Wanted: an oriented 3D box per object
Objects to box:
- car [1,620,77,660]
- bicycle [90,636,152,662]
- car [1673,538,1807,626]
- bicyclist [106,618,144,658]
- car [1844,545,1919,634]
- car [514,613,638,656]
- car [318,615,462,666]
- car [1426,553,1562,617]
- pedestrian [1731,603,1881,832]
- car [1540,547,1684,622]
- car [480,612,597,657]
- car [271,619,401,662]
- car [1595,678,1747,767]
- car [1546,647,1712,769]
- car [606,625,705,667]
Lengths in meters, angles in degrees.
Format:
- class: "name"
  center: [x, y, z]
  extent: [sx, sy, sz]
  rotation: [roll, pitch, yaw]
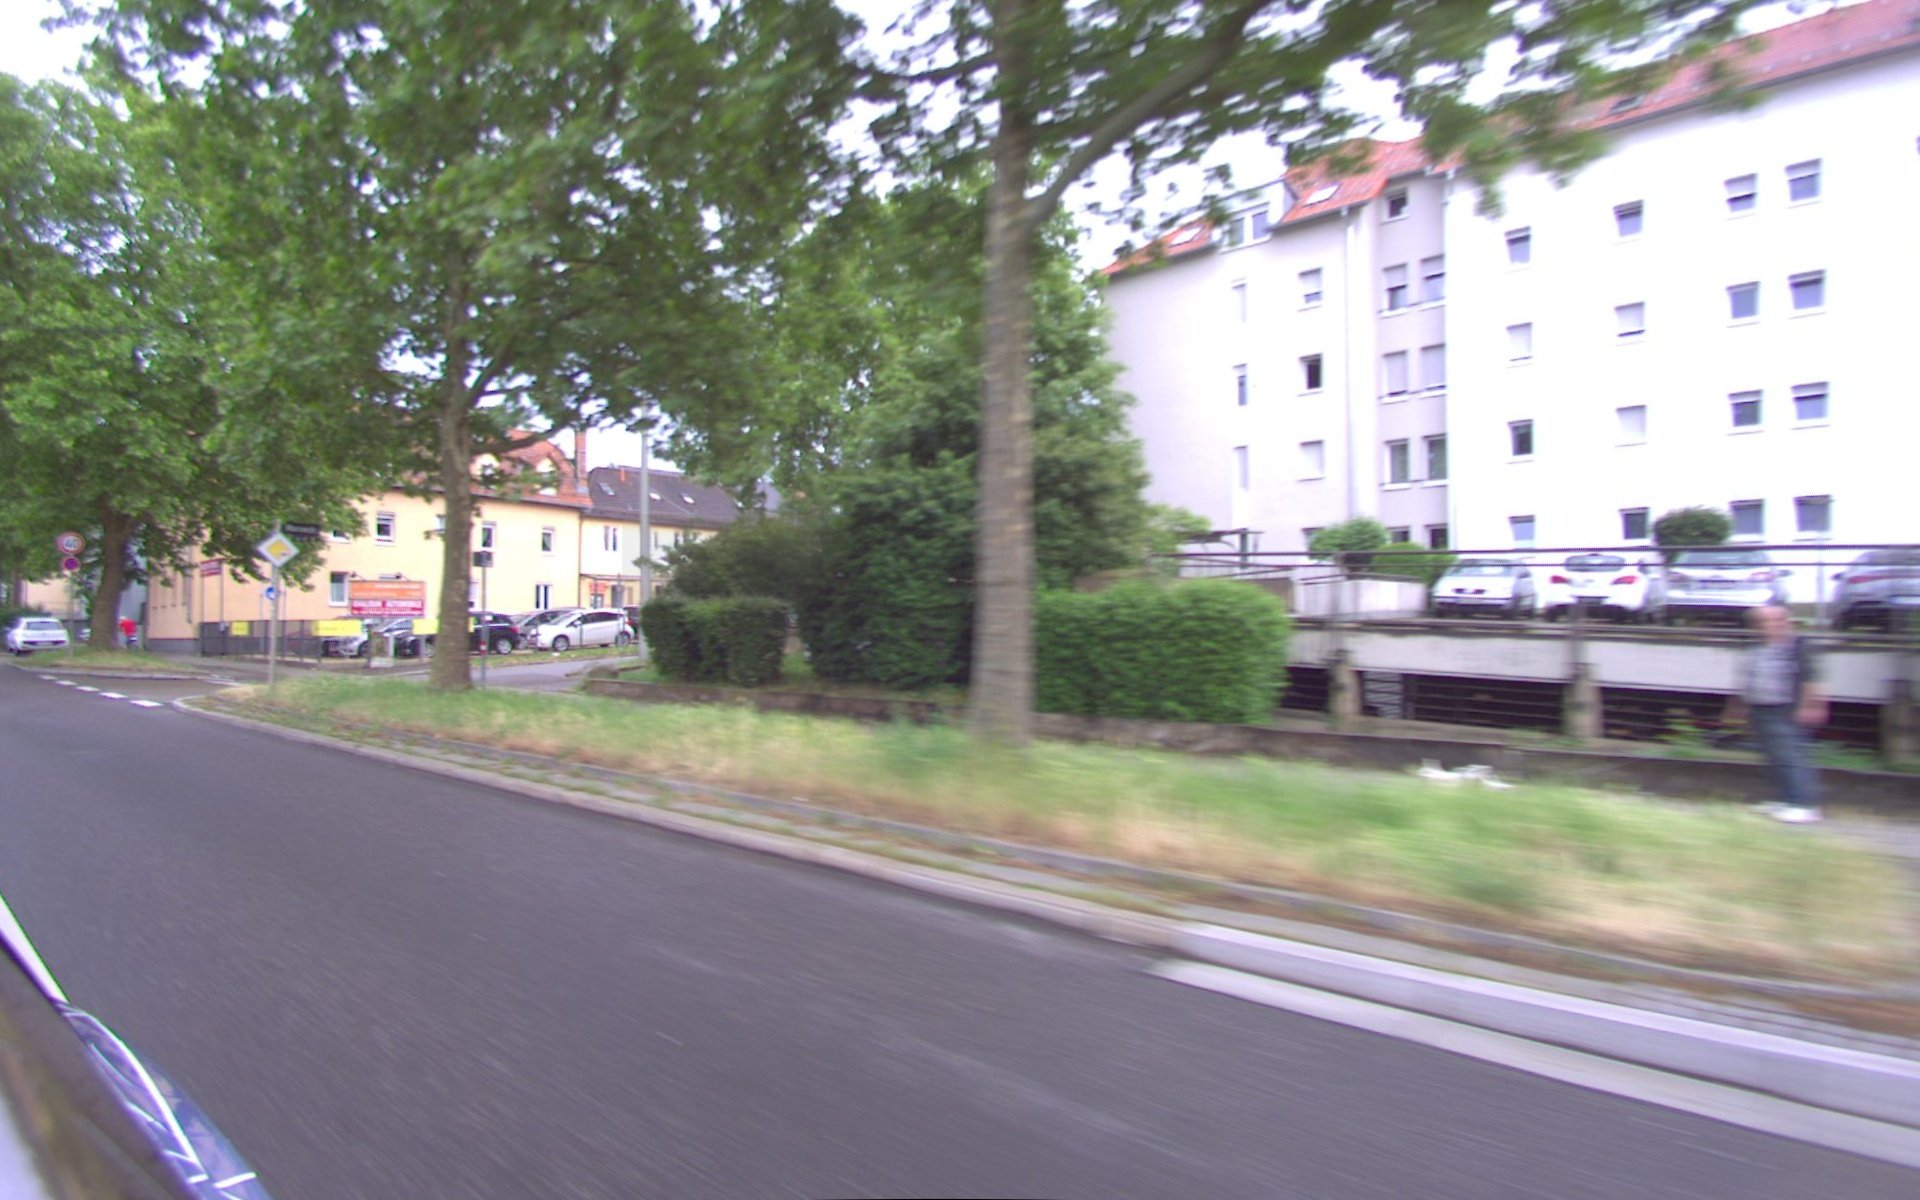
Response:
- class: "car"
  center: [-37.785, 1.606, 41.483]
  extent: [4.349, 1.563, 1.767]
  rotation: [-2, -1, 41]
- class: "bicycle"
  center: [-33.884, 1.977, 40.885]
  extent: [2.238, 1.003, 0.555]
  rotation: [0, 1, 7]
- class: "car"
  center: [15.113, -0.338, 19.538]
  extent: [1.685, 1.518, 3.943]
  rotation: [0, 1, 43]
- class: "bicyclist"
  center: [-33.751, 1.517, 40.916]
  extent: [0.807, 1.564, 0.834]
  rotation: [0, 1, 7]
- class: "car"
  center: [16.541, -0.185, 17.388]
  extent: [1.905, 1.407, 3.943]
  rotation: [0, 1, 43]
- class: "car"
  center: [-14.997, 1.312, 39.654]
  extent: [1.998, 1.508, 4.125]
  rotation: [0, 0, 39]
- class: "car"
  center: [-20.851, 1.429, 37.164]
  extent: [1.980, 1.550, 4.166]
  rotation: [0, 2, 39]
- class: "car"
  center: [12.124, -0.342, 22.862]
  extent: [1.745, 1.328, 3.943]
  rotation: [0, 1, 43]
- class: "pedestrian"
  center: [6.464, 0.841, 7.782]
  extent: [0.833, 1.622, 0.748]
  rotation: [0, 1, 37]
- class: "car"
  center: [13.672, -0.320, 21.132]
  extent: [1.849, 1.425, 3.943]
  rotation: [0, 1, 43]
- class: "car"
  center: [-17.125, 1.363, 41.272]
  extent: [1.998, 1.665, 3.947]
  rotation: [0, 0, 40]
- class: "car"
  center: [-24.960, 1.574, 40.571]
  extent: [1.958, 1.509, 4.054]
  rotation: [-1, 0, 43]
- class: "car"
  center: [14.983, 2.470, 21.241]
  extent: [2.065, 1.407, 3.943]
  rotation: [-2, -1, 43]
- class: "car"
  center: [10.223, 1.517, 15.362]
  extent: [1.612, 1.486, 3.669]
  rotation: [-2, -1, 41]
- class: "car"
  center: [-13.845, 2.049, 46.109]
  extent: [1.886, 1.696, 3.943]
  rotation: [0, 1, 43]
